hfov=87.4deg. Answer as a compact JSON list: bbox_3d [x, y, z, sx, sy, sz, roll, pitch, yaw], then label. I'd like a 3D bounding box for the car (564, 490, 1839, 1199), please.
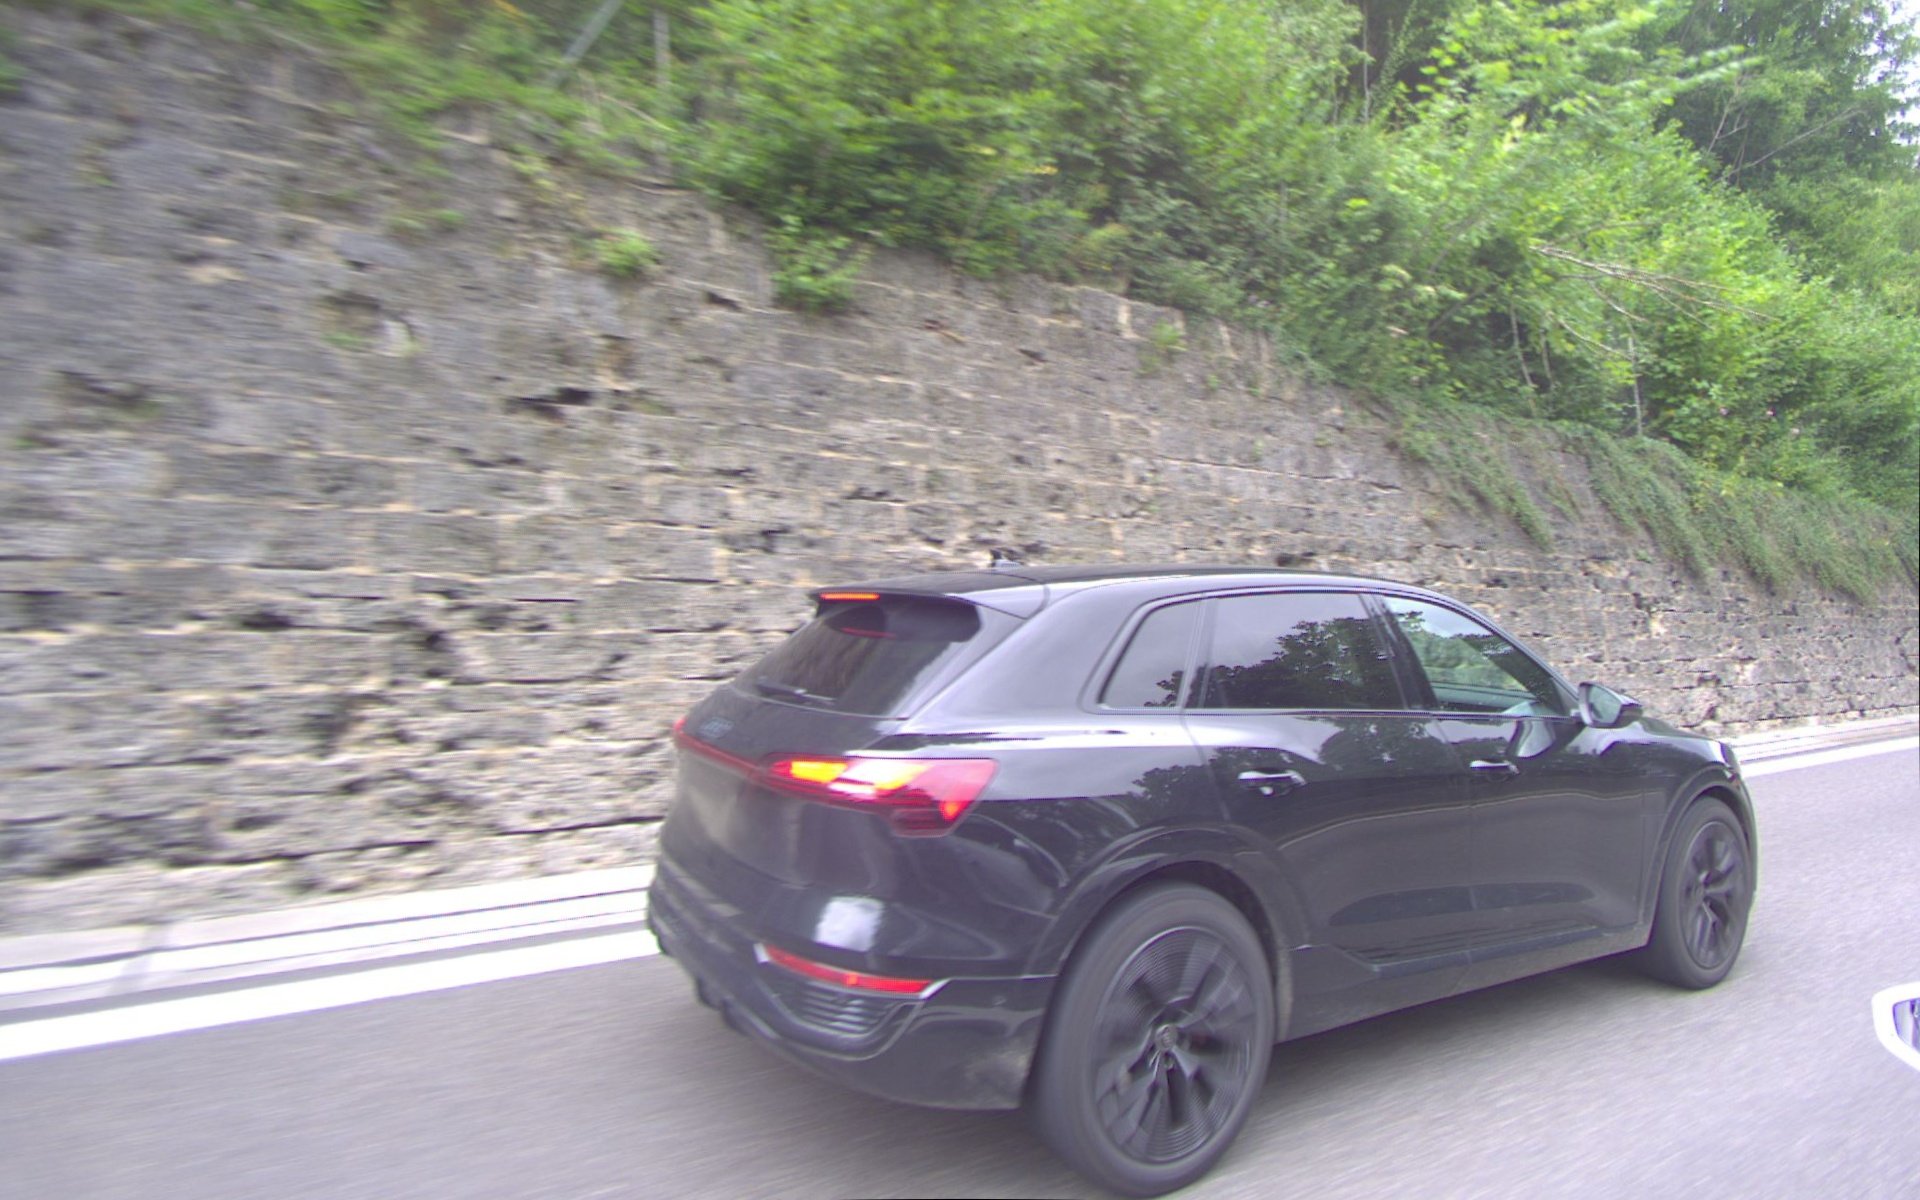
[{"bbox_3d":[1.224,0.683,3.968,4.950,1.654,1.984,1,-1,-31],"label":"car"}]
